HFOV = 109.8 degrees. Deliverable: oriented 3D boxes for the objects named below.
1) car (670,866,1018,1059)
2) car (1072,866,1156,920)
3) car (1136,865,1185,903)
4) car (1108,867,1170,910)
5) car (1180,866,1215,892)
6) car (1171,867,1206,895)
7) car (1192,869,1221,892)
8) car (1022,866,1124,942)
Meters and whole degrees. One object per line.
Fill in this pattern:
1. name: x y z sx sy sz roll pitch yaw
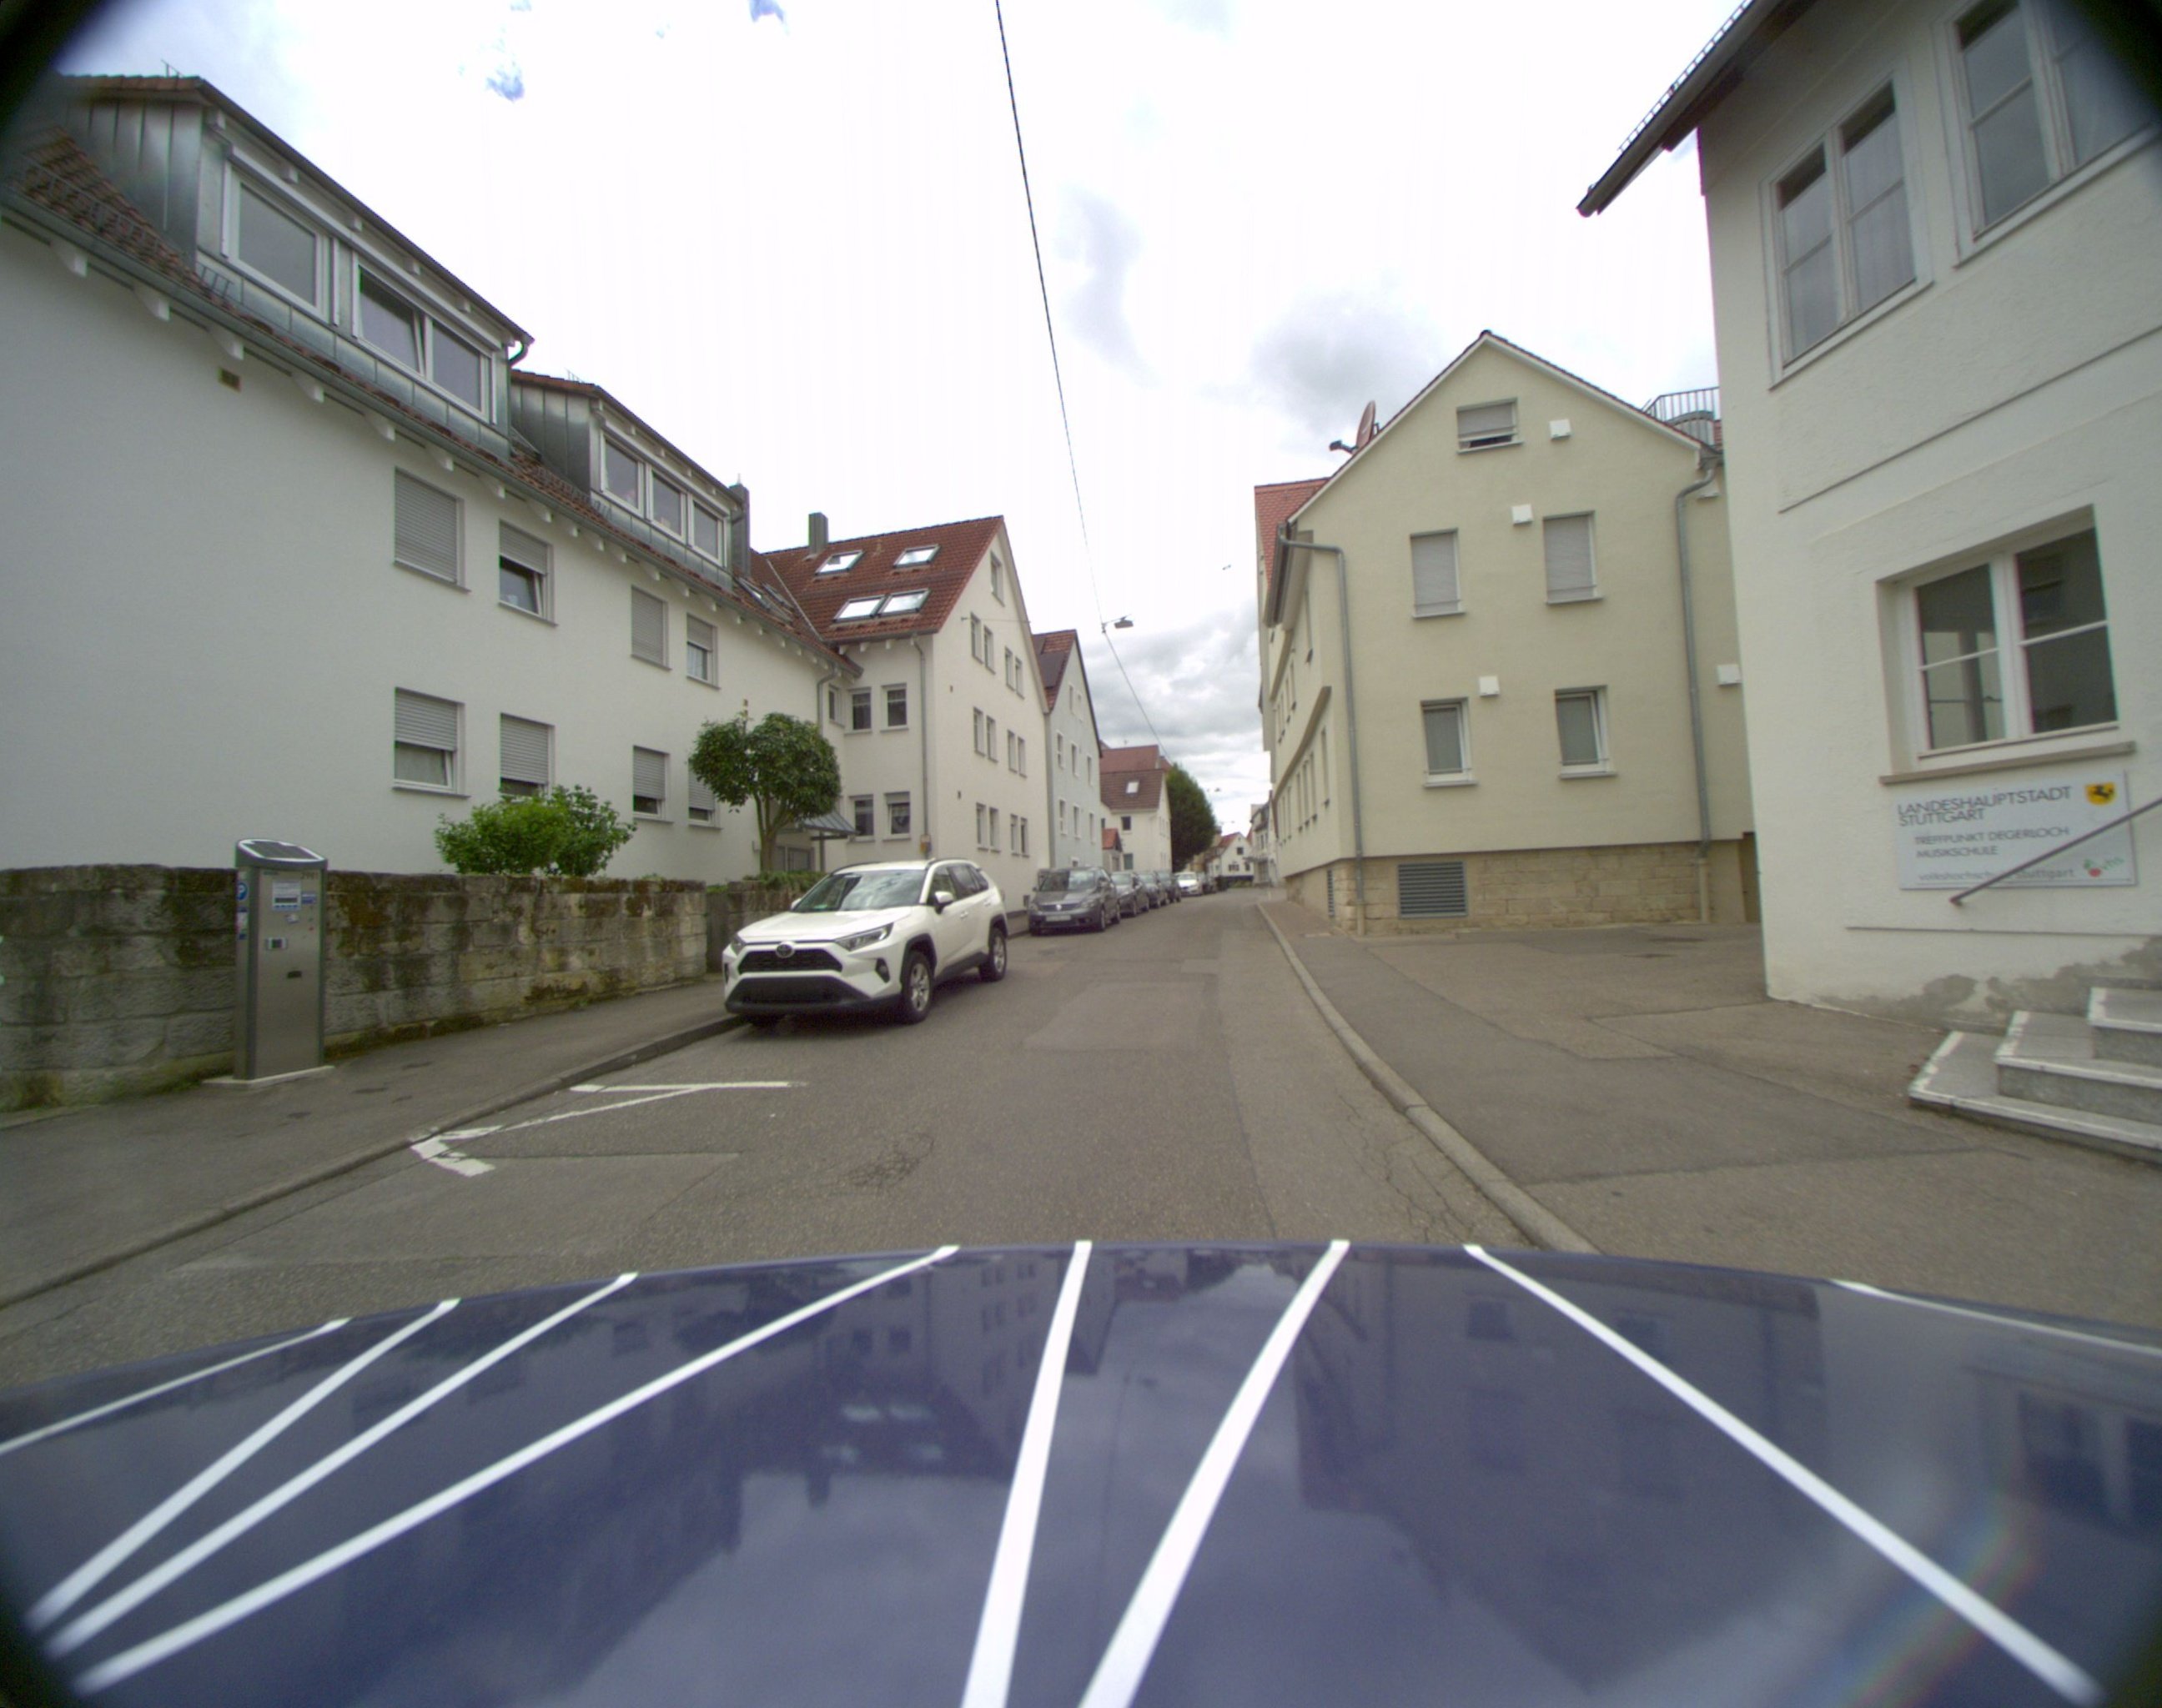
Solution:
1. car: -2.328 1.015 8.942 1.949 1.629 4.465 -4 -2 10
2. car: 1.140 1.185 24.149 1.811 1.434 3.963 -4 -1 14
3. car: 3.579 1.332 33.835 1.641 1.502 3.846 -4 -2 13
4. car: 2.285 1.278 29.051 1.728 1.434 4.270 -4 -2 12
5. car: 8.056 1.732 52.258 1.769 1.610 4.288 -4 -2 15
6. car: 6.646 1.672 46.789 1.769 1.553 4.045 -4 -2 12
7. car: 9.817 2.051 59.339 1.769 1.583 4.045 -4 -2 14
8. car: -0.080 1.159 18.918 1.738 1.554 3.912 -4 -1 10
